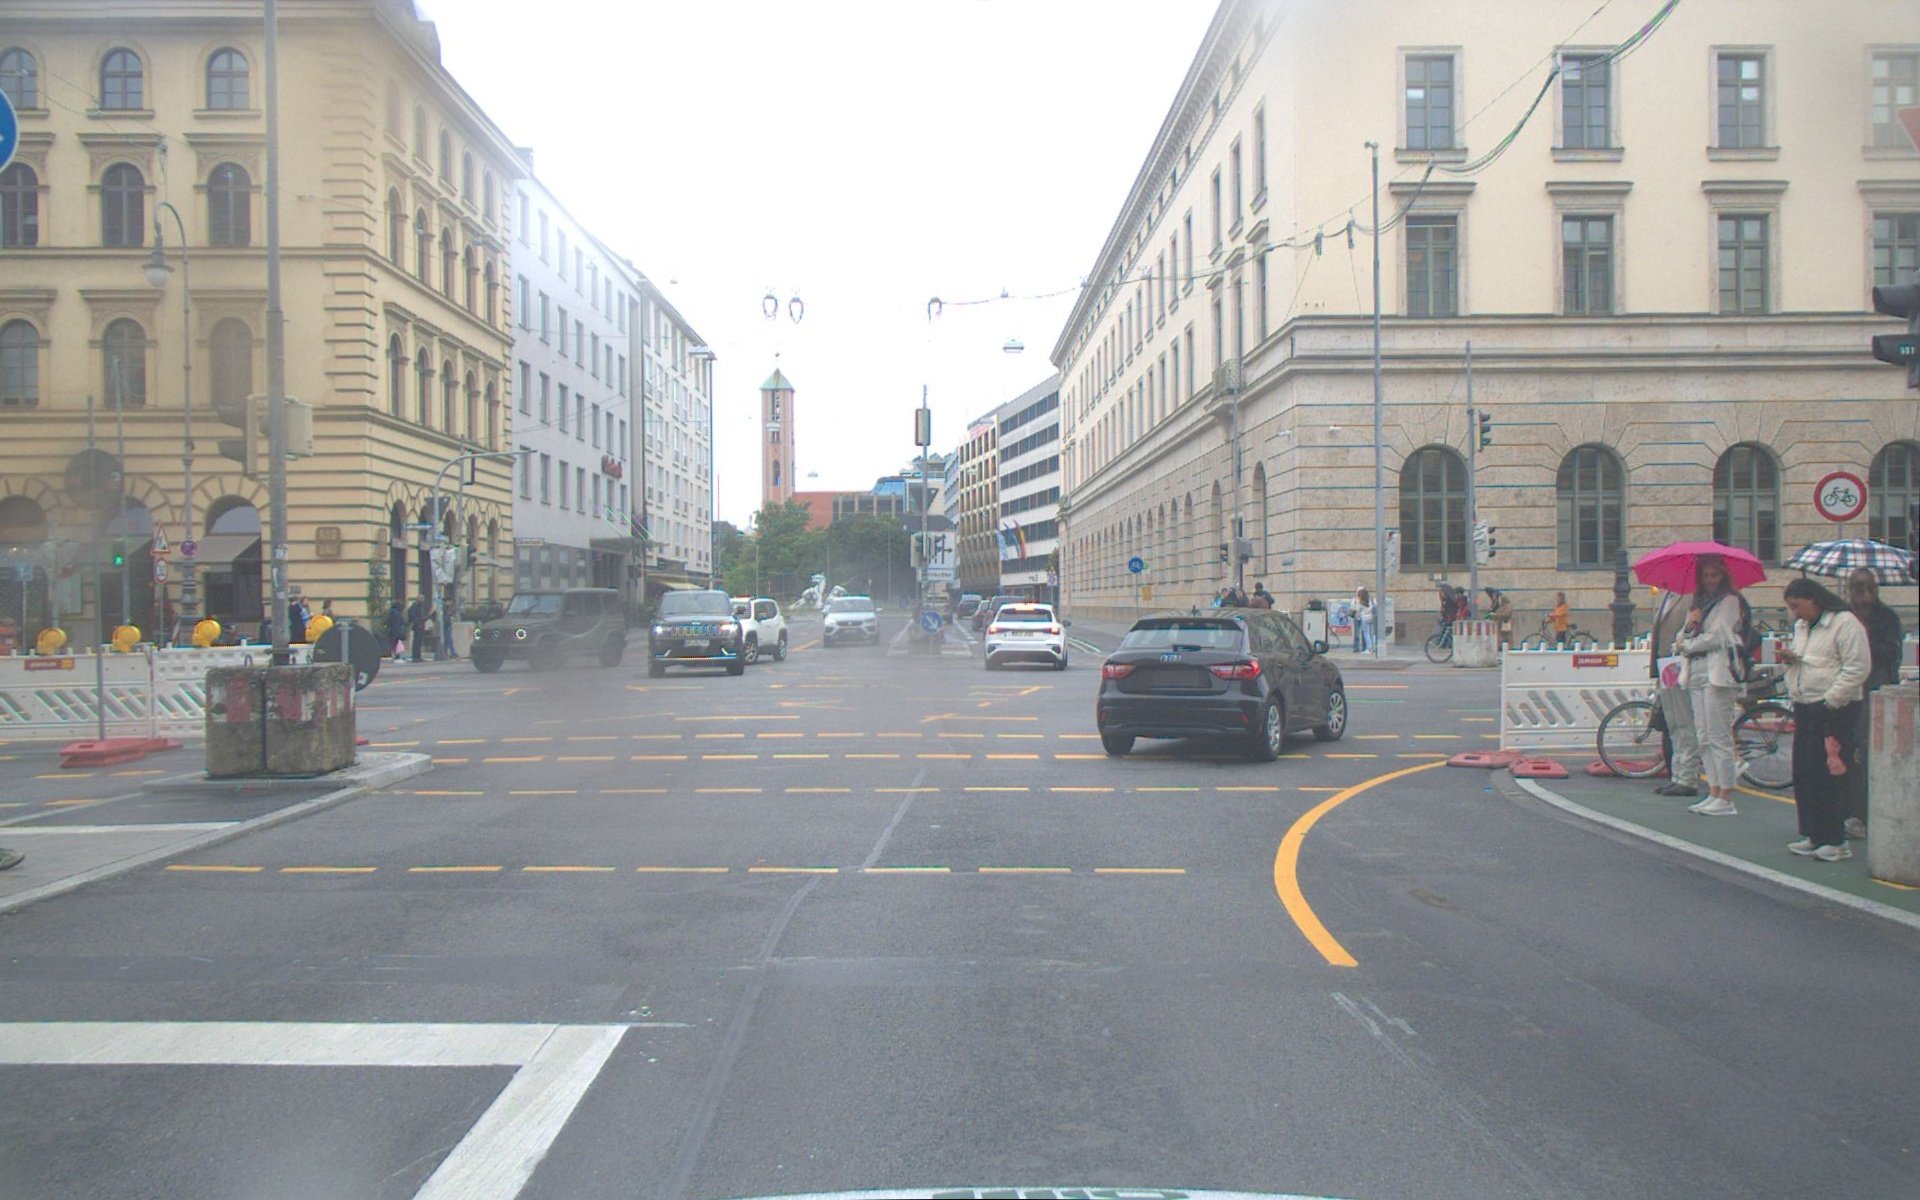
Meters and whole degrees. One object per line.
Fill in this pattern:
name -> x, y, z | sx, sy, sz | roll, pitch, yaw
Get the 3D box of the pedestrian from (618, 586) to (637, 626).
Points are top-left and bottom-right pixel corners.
pedestrian -> -15.301, 0.283, 76.073 | 0.722, 1.803, 0.736 | 0, 0, -2

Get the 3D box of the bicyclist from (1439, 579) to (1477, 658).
bicyclist -> 12.000, 0.446, 39.875 | 0.728, 1.874, 0.661 | 0, 0, 1

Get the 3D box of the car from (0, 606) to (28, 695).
car -> -20.967, 1.027, 32.821 | 3.917, 1.750, 1.818 | -1, 0, -12

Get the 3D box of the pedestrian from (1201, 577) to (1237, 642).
pedestrian -> 7.236, 0.257, 46.252 | 0.809, 1.786, 0.579 | 0, 0, -32

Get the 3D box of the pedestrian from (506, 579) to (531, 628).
pedestrian -> -16.363, 0.143, 61.335 | 0.722, 1.803, 0.736 | 0, 0, -2

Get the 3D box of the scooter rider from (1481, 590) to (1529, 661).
scooter rider -> 12.729, 0.589, 38.647 | 0.913, 1.651, 0.592 | 1, 0, 0

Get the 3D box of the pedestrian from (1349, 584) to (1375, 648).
pedestrian -> 10.748, 0.424, 44.273 | 0.603, 1.701, 0.542 | 0, 0, 6

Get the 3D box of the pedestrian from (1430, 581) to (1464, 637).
pedestrian -> 13.568, 0.252, 46.095 | 0.652, 1.554, 0.819 | 0, 0, -3

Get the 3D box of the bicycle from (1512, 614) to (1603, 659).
bicycle -> 14.330, 0.871, 39.701 | 1.917, 1.058, 0.795 | 1, 0, 1

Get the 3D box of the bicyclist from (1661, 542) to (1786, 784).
bicyclist -> 6.162, 0.484, 13.359 | 0.785, 1.886, 0.564 | 1, 0, 41

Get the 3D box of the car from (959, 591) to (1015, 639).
car -> 0.944, 0.515, 59.777 | 1.827, 1.629, 3.849 | -1, 0, -2

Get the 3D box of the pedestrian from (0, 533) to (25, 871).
pedestrian -> -5.248, 0.535, 8.446 | 0.503, 1.773, 1.040 | 0, 0, -11

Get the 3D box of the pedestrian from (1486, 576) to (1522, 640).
pedestrian -> 14.728, 0.212, 44.814 | 0.700, 1.723, 0.820 | 0, 0, 0

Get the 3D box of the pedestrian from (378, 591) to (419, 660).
pedestrian -> -14.936, 0.671, 44.001 | 0.718, 1.803, 0.761 | 0, 0, 20

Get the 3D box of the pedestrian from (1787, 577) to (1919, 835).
pedestrian -> 5.803, 0.655, 10.578 | 0.688, 1.594, 0.682 | 1, 0, 1

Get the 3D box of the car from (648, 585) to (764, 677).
car -> -5.278, 0.598, 34.864 | 1.955, 1.765, 4.582 | -1, 0, -3

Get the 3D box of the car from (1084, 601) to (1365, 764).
car -> 2.814, 0.732, 16.849 | 1.826, 1.412, 3.998 | 0, 0, 25

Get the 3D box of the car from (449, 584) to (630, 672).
car -> -10.289, 0.648, 40.857 | 2.191, 2.049, 4.451 | -1, 0, 20

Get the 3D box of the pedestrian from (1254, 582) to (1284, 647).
pedestrian -> 8.583, 0.407, 45.902 | 0.573, 1.786, 0.818 | 0, 0, 30

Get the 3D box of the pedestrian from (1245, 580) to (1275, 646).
pedestrian -> 8.189, 0.359, 45.132 | 0.573, 1.786, 0.818 | 0, 0, 30

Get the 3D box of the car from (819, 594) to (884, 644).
car -> -3.528, 0.605, 54.480 | 1.953, 1.550, 4.231 | -1, 0, -2

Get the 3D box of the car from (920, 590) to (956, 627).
car -> -1.299, 0.449, 94.929 | 1.953, 2.049, 3.999 | -1, 0, -2

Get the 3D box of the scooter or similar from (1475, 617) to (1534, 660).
scooter or similar -> 12.710, 0.902, 38.644 | 1.186, 0.982, 0.588 | 1, 0, 0

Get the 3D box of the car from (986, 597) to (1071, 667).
car -> 1.602, 0.677, 37.326 | 1.775, 1.449, 4.454 | 1, 0, 4

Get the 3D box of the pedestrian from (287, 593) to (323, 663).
pedestrian -> -17.103, 0.722, 43.199 | 0.721, 1.803, 0.737 | 0, 0, -11

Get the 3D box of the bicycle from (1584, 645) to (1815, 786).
bicycle -> 6.012, 0.911, 13.490 | 1.626, 1.029, 0.583 | 1, 0, 41

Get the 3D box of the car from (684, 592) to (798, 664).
car -> -5.551, 0.676, 42.387 | 1.755, 1.707, 4.236 | -1, 0, 9

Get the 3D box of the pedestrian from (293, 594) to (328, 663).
pedestrian -> -17.253, 0.755, 43.936 | 0.721, 1.803, 0.737 | 0, 0, -11

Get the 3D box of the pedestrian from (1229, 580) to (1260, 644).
pedestrian -> 8.065, 0.342, 46.887 | 0.800, 1.786, 0.586 | 0, 0, 13

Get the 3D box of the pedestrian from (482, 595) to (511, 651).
pedestrian -> -14.965, 0.733, 53.451 | 0.722, 1.803, 0.736 | 0, 0, -2

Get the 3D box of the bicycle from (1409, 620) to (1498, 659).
bicycle -> 11.890, 0.948, 39.880 | 1.931, 0.895, 0.661 | 1, 0, 1

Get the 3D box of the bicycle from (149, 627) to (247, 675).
bicycle -> -18.678, 1.241, 40.559 | 2.165, 1.118, 0.595 | -1, 0, -26

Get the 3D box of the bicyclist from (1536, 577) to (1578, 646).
bicyclist -> 14.327, 0.265, 39.697 | 0.728, 1.643, 0.795 | 0, 0, 1

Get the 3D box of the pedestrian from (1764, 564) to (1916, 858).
pedestrian -> 5.116, 0.624, 9.642 | 0.520, 1.648, 0.674 | 1, 0, 1

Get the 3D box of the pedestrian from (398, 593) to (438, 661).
pedestrian -> -14.655, 0.727, 44.743 | 0.718, 1.803, 0.739 | 0, 0, 20

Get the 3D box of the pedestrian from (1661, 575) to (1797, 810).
pedestrian -> 5.361, 0.632, 11.555 | 0.688, 1.594, 0.541 | 1, 0, 1

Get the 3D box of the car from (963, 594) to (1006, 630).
car -> 1.109, 0.538, 76.908 | 1.827, 1.629, 3.849 | -1, 0, -2

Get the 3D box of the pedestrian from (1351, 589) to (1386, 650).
pedestrian -> 10.761, 0.495, 43.536 | 0.800, 1.584, 0.667 | 1, 0, 6

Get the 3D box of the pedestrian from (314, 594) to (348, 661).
pedestrian -> -17.054, 0.747, 44.833 | 0.720, 1.803, 0.737 | 0, 0, -10

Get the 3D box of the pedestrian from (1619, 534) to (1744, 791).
pedestrian -> 5.539, 0.464, 12.719 | 0.688, 1.918, 0.641 | 1, 0, 3

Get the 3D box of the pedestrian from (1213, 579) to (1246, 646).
pedestrian -> 7.280, 0.324, 44.611 | 0.800, 1.786, 0.680 | 0, 0, 15
